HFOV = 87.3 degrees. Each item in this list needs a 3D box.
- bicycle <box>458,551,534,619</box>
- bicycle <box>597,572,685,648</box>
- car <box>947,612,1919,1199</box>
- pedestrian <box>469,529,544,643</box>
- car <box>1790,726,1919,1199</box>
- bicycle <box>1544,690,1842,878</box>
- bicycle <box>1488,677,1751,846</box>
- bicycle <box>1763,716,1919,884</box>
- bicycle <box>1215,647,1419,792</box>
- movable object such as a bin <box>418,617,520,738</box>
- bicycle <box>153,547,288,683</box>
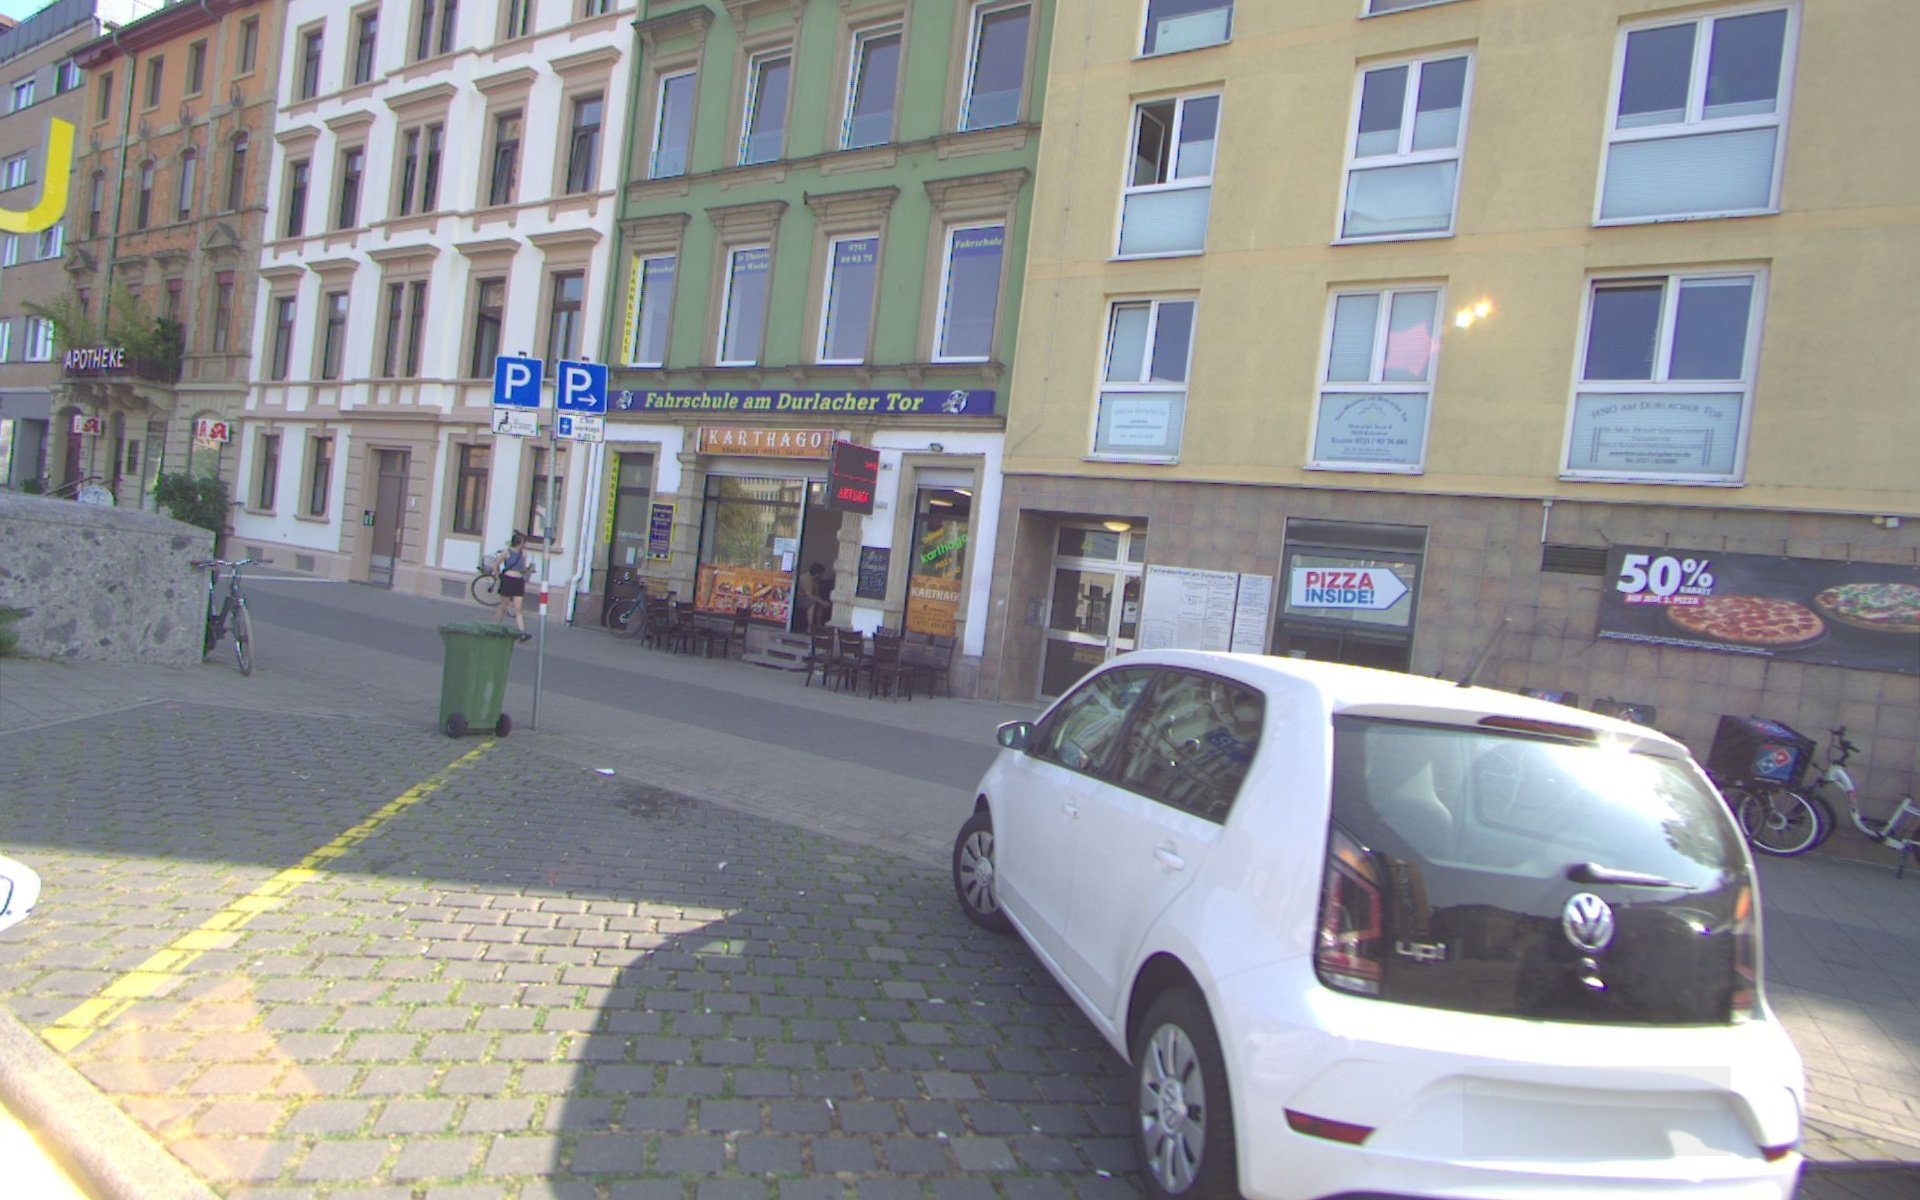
[{"bbox_3d":[-9.117,-0.296,19.730,1.691,1.148,0.384,7,1,32],"label":"bicycle"},{"bbox_3d":[-5.683,0.169,17.900,1.691,1.148,0.384,7,1,32],"label":"bicycle"},{"bbox_3d":[1.100,0.920,3.910,1.596,1.482,3.522,7,0,-10],"label":"car"},{"bbox_3d":[-7.041,-0.212,15.628,0.725,1.650,0.609,7,1,32],"label":"pedestrian"},{"bbox_3d":[4.230,1.286,1.478,1.817,1.440,4.401,7,0,-10],"label":"car"},{"bbox_3d":[6.536,1.606,9.108,1.961,1.277,0.604,7,1,23],"label":"bicycle"},{"bbox_3d":[6.433,1.544,9.944,1.961,1.277,0.604,7,1,23],"label":"bicycle"},{"bbox_3d":[8.432,1.823,8.946,1.818,1.277,0.603,7,1,31],"label":"bicycle"},{"bbox_3d":[3.997,1.296,11.337,1.964,1.277,0.603,7,1,31],"label":"bicycle"},{"bbox_3d":[-4.066,0.634,8.334,0.528,0.914,0.490,7,1,34],"label":"movable object such as a bin"},{"bbox_3d":[-7.407,0.131,10.049,1.760,1.148,0.384,7,1,32],"label":"bicycle"}]
